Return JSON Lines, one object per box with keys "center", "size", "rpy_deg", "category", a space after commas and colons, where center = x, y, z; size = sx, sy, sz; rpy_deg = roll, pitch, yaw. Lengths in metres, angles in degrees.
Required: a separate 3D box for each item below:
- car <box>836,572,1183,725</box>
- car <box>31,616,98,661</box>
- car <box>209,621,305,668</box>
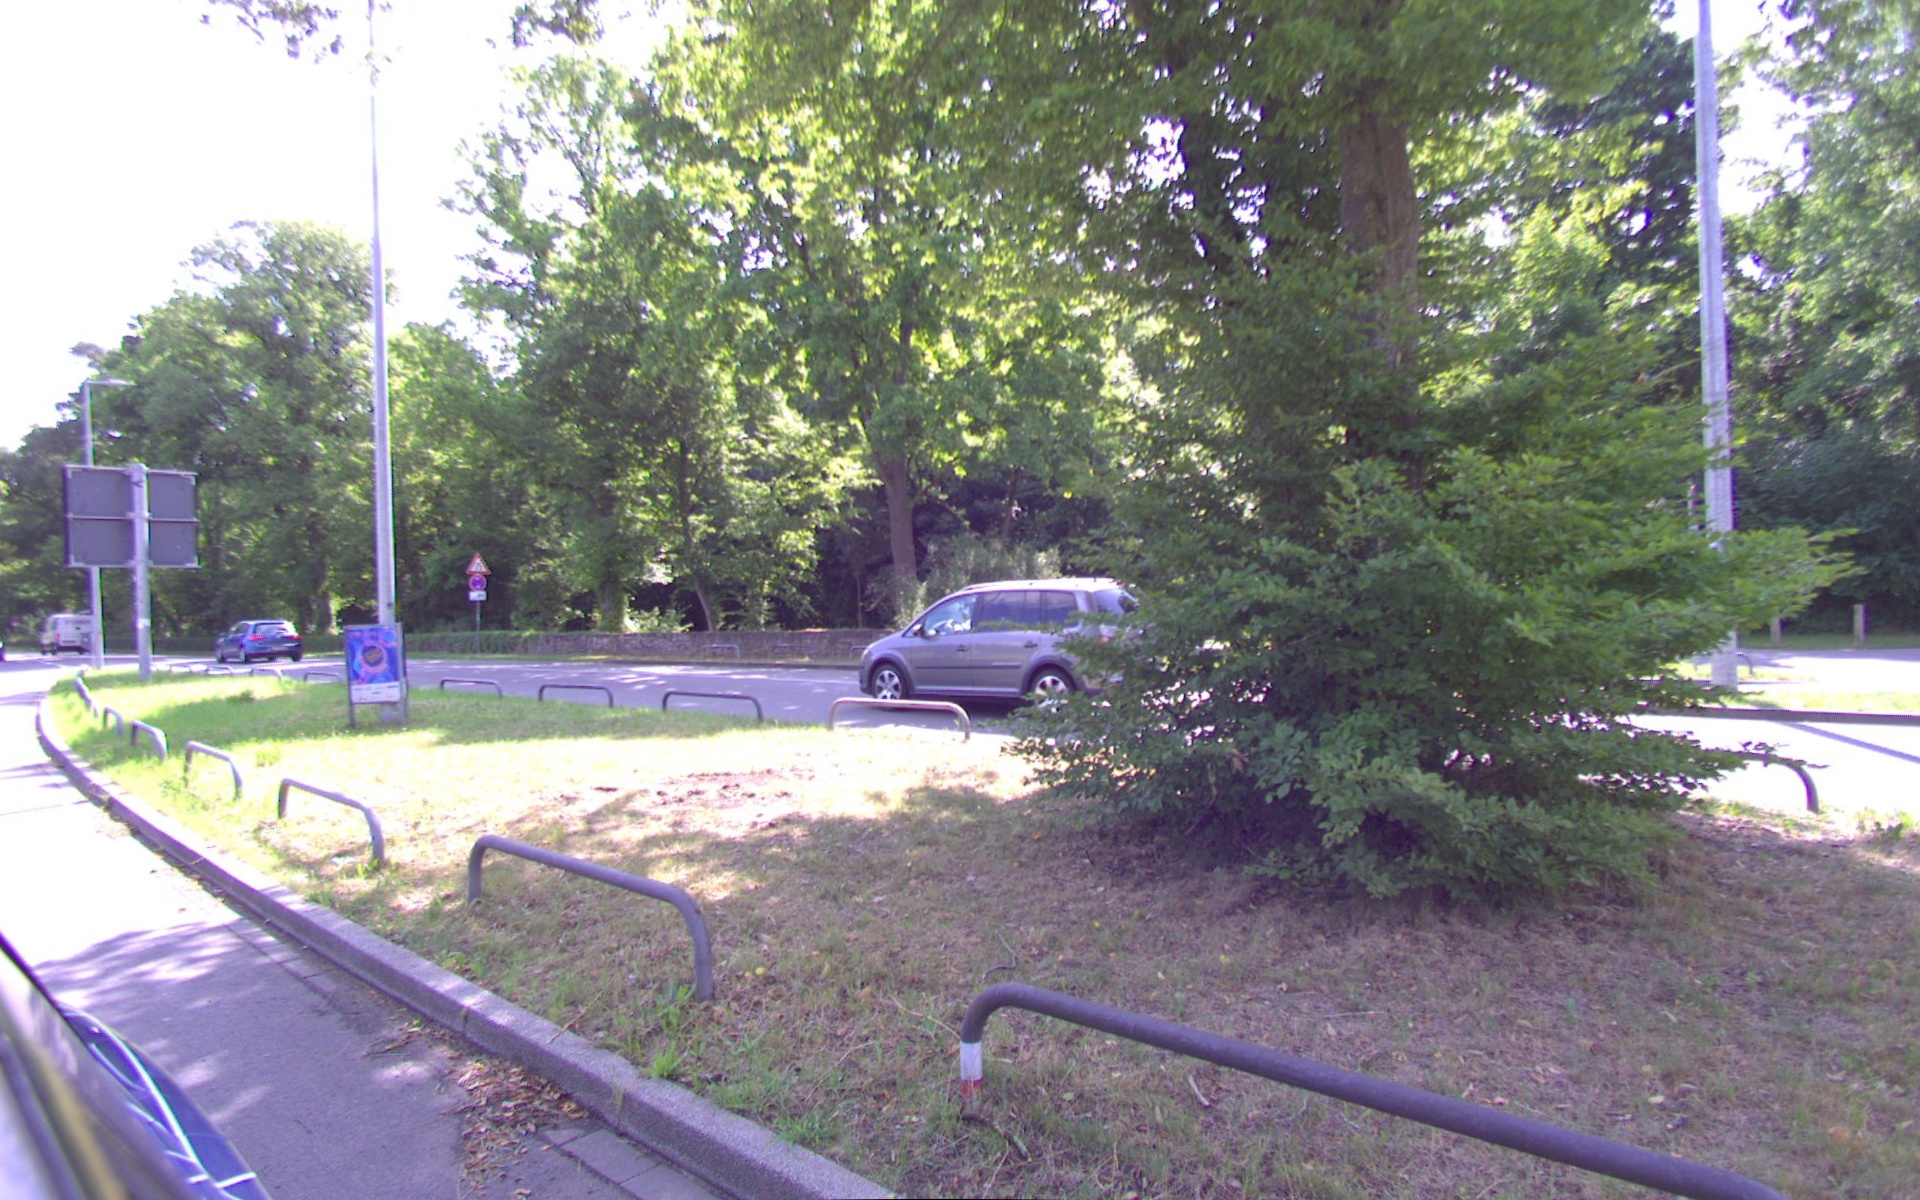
{"center": [0.529, 0.582, 13.238], "size": [4.295, 1.642, 1.744], "rpy_deg": [-2, 1, 40], "category": "car"}
{"center": [-53.107, 2.252, 59.981], "size": [5.356, 2.449, 1.956], "rpy_deg": [-1, 1, 38], "category": "car"}
{"center": [-24.549, 1.508, 35.296], "size": [4.063, 1.457, 1.678], "rpy_deg": [-1, 2, 40], "category": "car"}
